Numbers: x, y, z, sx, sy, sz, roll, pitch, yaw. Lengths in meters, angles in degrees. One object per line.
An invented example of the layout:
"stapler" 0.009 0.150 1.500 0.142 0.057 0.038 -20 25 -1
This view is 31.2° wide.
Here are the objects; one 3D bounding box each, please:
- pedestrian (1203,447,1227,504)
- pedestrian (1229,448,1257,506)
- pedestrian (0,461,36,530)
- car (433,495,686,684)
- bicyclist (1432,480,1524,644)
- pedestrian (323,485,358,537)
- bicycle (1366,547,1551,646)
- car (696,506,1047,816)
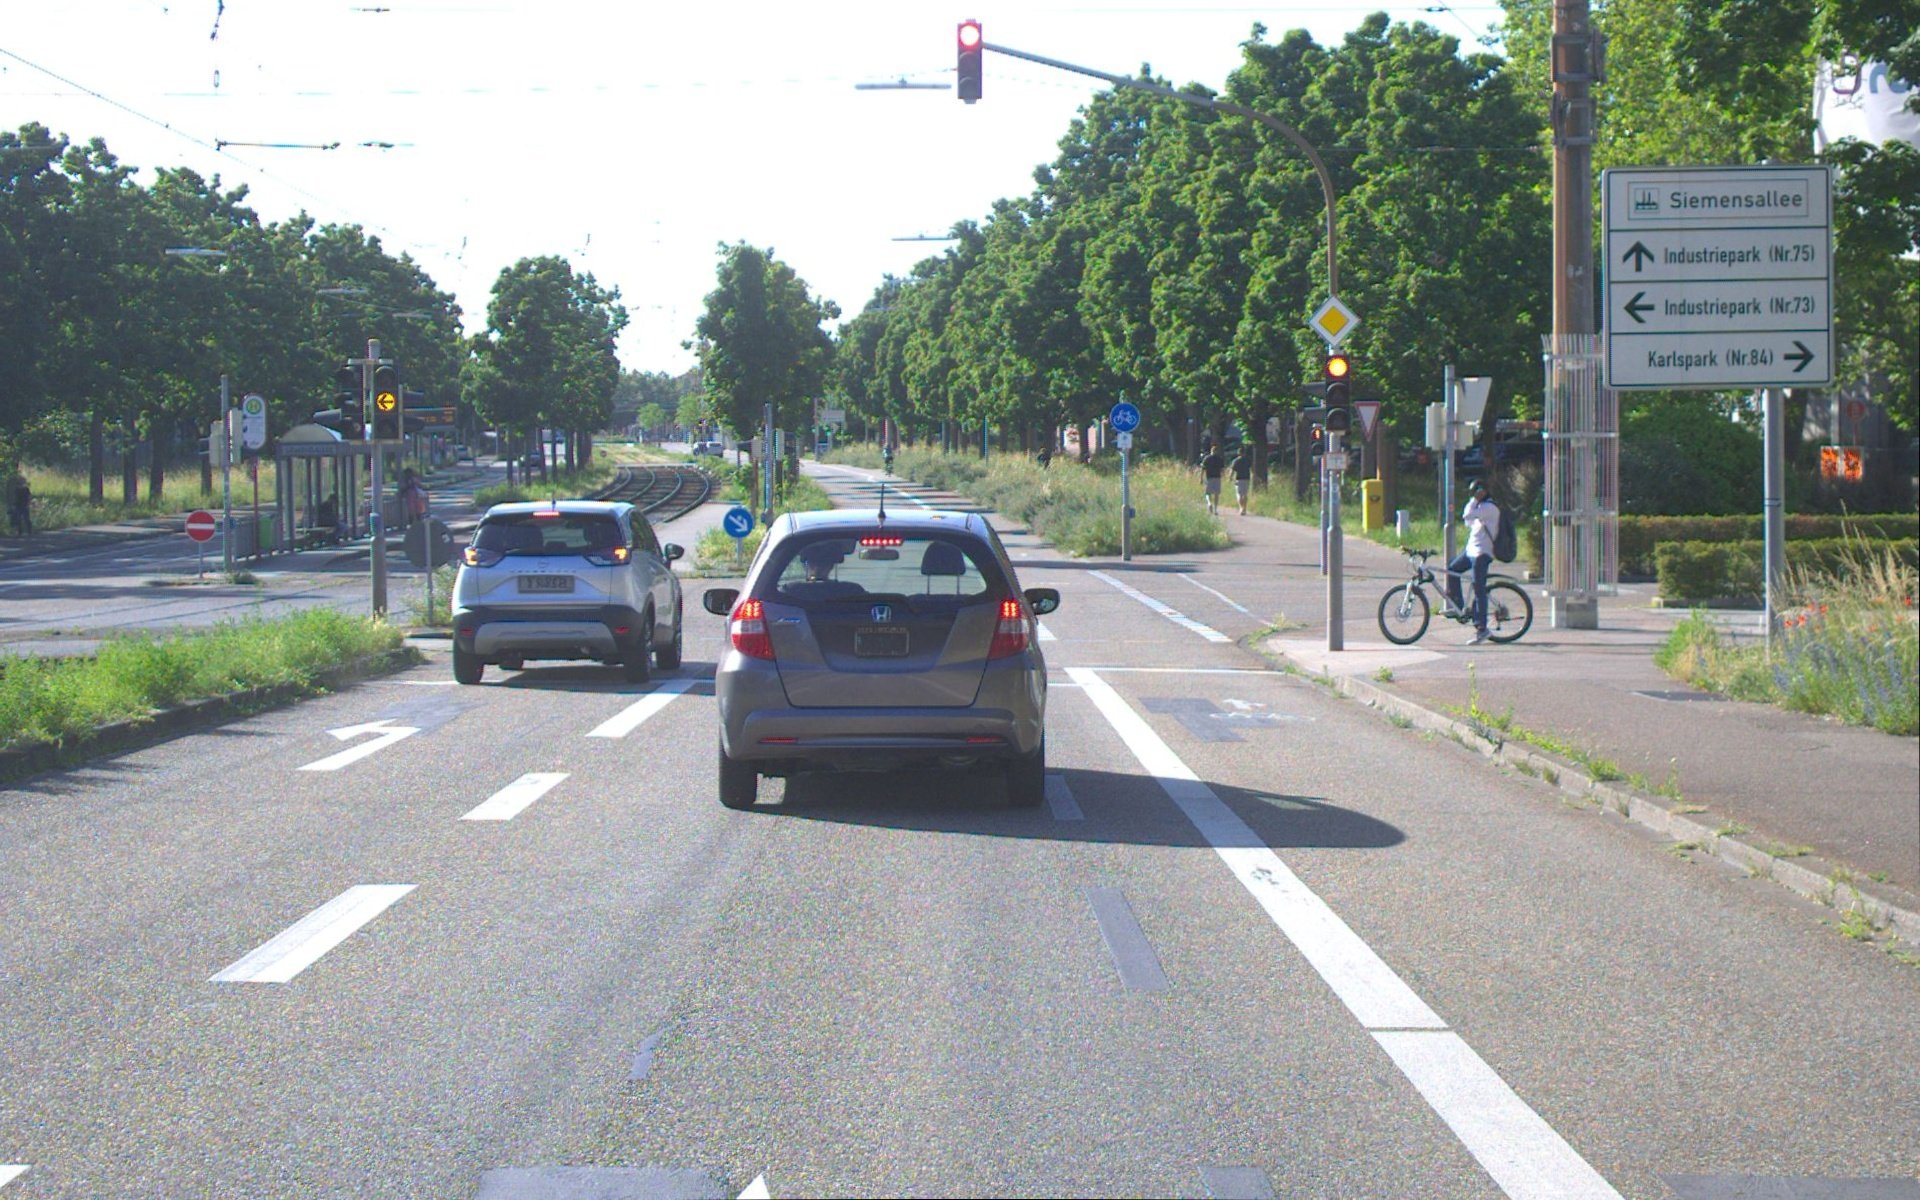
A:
"pedestrian" 7.101 -3.467 95.814 0.567 1.591 0.666 1 1 -4
"pedestrian" 7.890 -3.421 95.869 0.678 1.604 0.721 1 1 -2
"pedestrian" -27.580 -3.063 100.601 0.839 2.006 0.863 0 2 -2
"car" -3.566 -0.147 31.311 1.850 1.601 4.255 0 2 -1
"bicyclist" 5.617 -0.416 37.248 0.910 1.739 0.764 -1 1 11
"pedestrian" -15.085 -2.163 83.674 0.721 1.241 0.711 -1 2 -2
"bicycle" 5.418 -0.043 37.297 1.921 0.994 0.764 -2 1 11
"car" -0.416 0.244 18.816 1.707 1.503 4.000 1 2 1
